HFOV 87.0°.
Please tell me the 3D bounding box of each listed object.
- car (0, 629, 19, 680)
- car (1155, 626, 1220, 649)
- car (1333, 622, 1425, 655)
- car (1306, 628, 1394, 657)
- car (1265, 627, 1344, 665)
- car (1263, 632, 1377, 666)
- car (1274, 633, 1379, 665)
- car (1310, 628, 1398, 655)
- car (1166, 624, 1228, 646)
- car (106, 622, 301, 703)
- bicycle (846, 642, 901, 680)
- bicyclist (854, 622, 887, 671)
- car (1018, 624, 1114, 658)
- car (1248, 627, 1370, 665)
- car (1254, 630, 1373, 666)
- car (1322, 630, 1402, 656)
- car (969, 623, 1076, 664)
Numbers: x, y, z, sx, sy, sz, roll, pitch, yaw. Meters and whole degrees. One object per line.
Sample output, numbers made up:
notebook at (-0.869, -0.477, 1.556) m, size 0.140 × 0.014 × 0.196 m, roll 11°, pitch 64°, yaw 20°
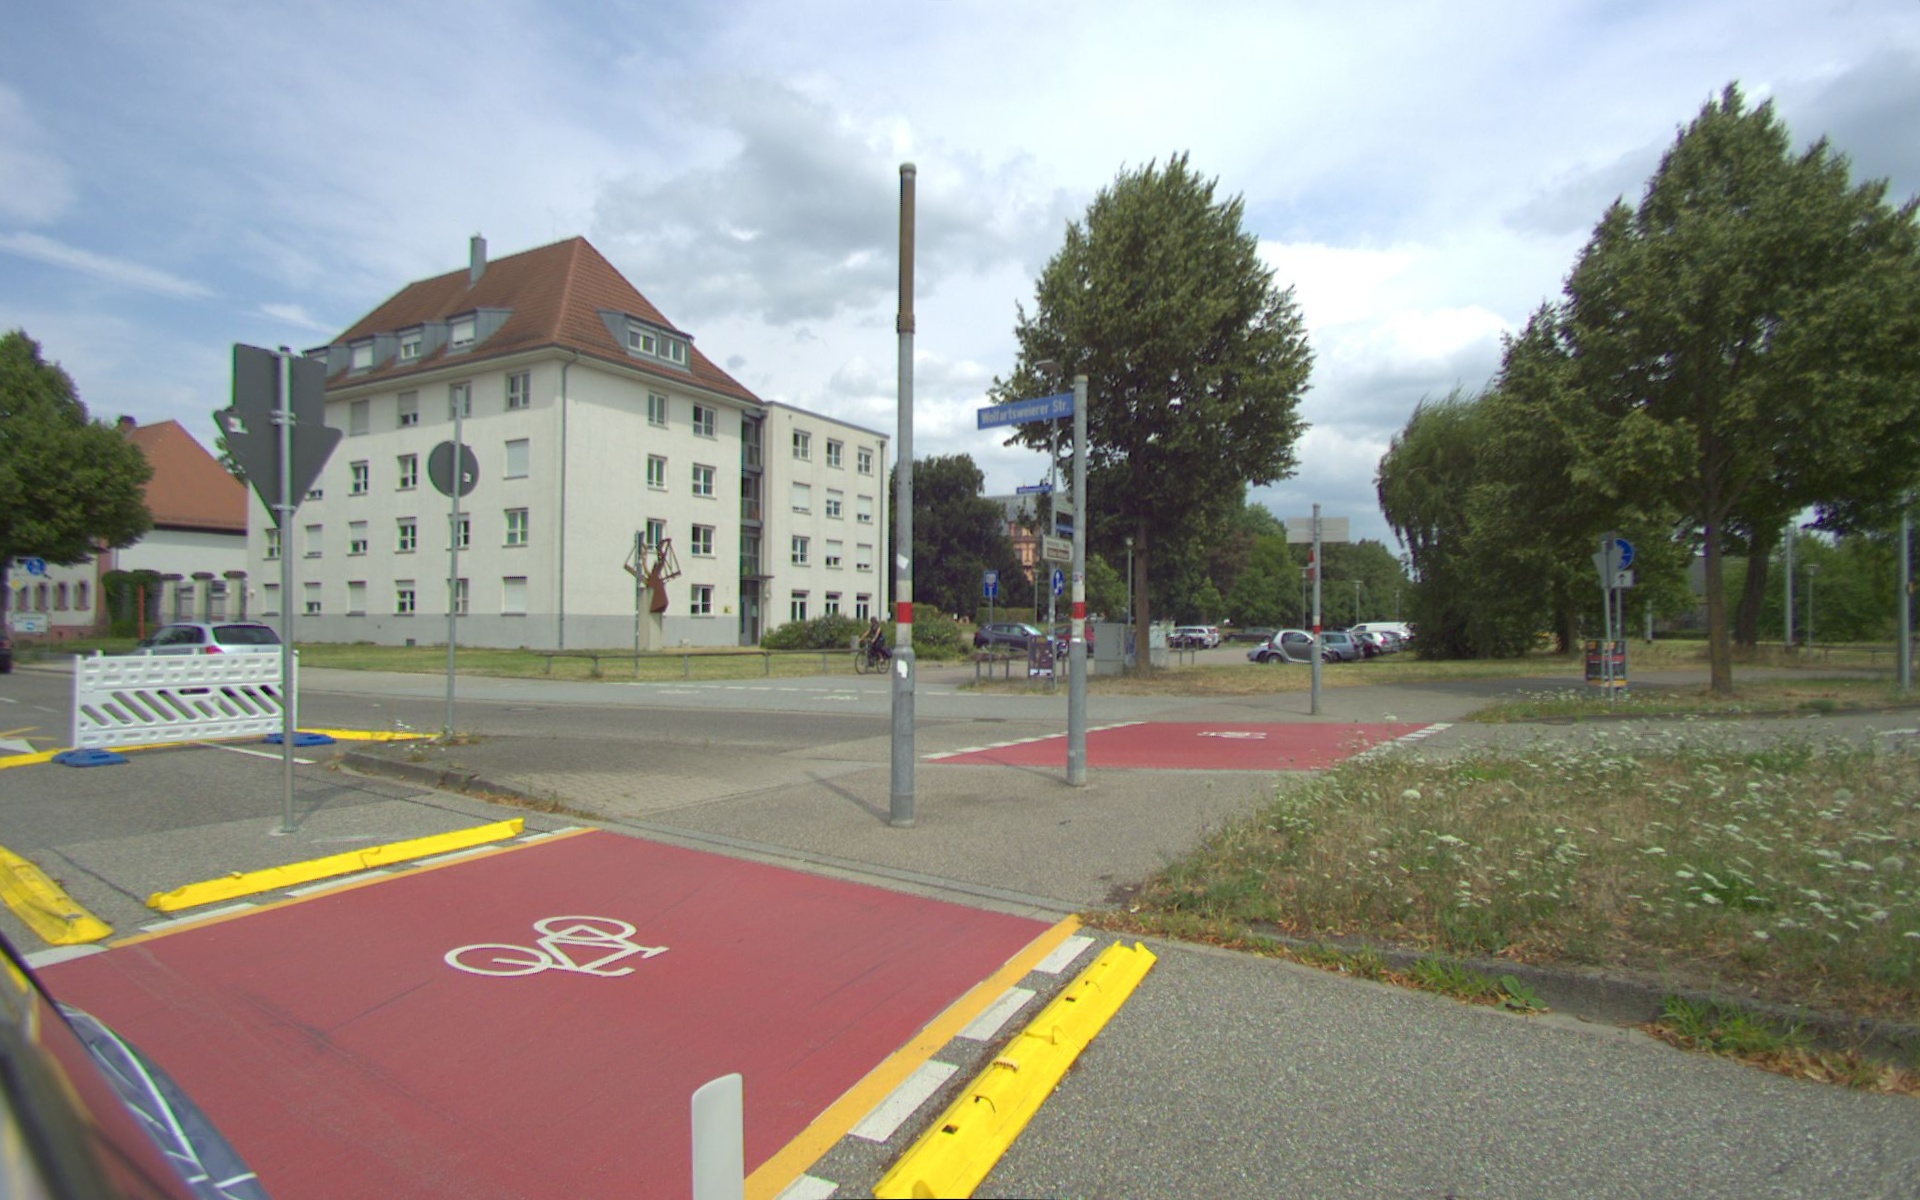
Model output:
car at (-28.864, 1.557, 29.165) m, size 3.709 × 1.426 × 1.614 m, roll -2°, pitch -3°, yaw 32°
car at (15.362, 2.534, 68.311) m, size 3.990 × 1.479 × 1.800 m, roll -1°, pitch -1°, yaw 29°
car at (28.030, 2.536, 67.756) m, size 5.545 × 2.071 × 2.180 m, roll 0°, pitch -1°, yaw 28°
car at (21.790, 2.352, 56.622) m, size 4.371 × 1.482 × 1.814 m, roll -1°, pitch -1°, yaw 31°
car at (14.013, 1.879, 41.189) m, size 2.898 × 1.434 × 1.472 m, roll -3°, pitch -3°, yaw 24°
car at (17.110, 2.309, 48.204) m, size 4.870 × 1.482 × 1.814 m, roll -1°, pitch -1°, yaw 31°
car at (18.155, 2.413, 50.206) m, size 4.691 × 1.482 × 1.814 m, roll -1°, pitch -1°, yaw 31°
car at (22.956, 2.396, 58.988) m, size 4.587 × 1.482 × 1.814 m, roll -1°, pitch -1°, yaw 31°
car at (17.021, 2.509, 72.725) m, size 3.990 × 1.586 × 1.799 m, roll -1°, pitch -2°, yaw 29°
car at (-15.696, 1.236, 20.976) m, size 4.199 × 1.530 × 1.613 m, roll -1°, pitch -2°, yaw 28°
bicycle at (-2.561, 1.789, 30.046) m, size 0.601 × 1.054 × 1.806 m, roll -1°, pitch -2°, yaw 37°
bicyclist at (-2.641, 1.376, 29.952) m, size 0.601 × 1.434 × 0.793 m, roll -1°, pitch -2°, yaw 37°
car at (5.310, 2.038, 50.822) m, size 4.391 × 1.610 × 1.979 m, roll -1°, pitch -1°, yaw 31°
car at (14.989, 1.975, 43.525) m, size 4.683 × 1.482 × 1.816 m, roll -3°, pitch -3°, yaw 28°
car at (16.060, 2.149, 46.067) m, size 4.870 × 1.482 × 1.814 m, roll -1°, pitch -1°, yaw 31°
car at (24.244, 2.577, 61.059) m, size 4.295 × 1.482 × 1.814 m, roll -1°, pitch -1°, yaw 31°
car at (2.821, 1.925, 45.974) m, size 4.481 × 1.778 × 1.980 m, roll -1°, pitch -1°, yaw 29°
